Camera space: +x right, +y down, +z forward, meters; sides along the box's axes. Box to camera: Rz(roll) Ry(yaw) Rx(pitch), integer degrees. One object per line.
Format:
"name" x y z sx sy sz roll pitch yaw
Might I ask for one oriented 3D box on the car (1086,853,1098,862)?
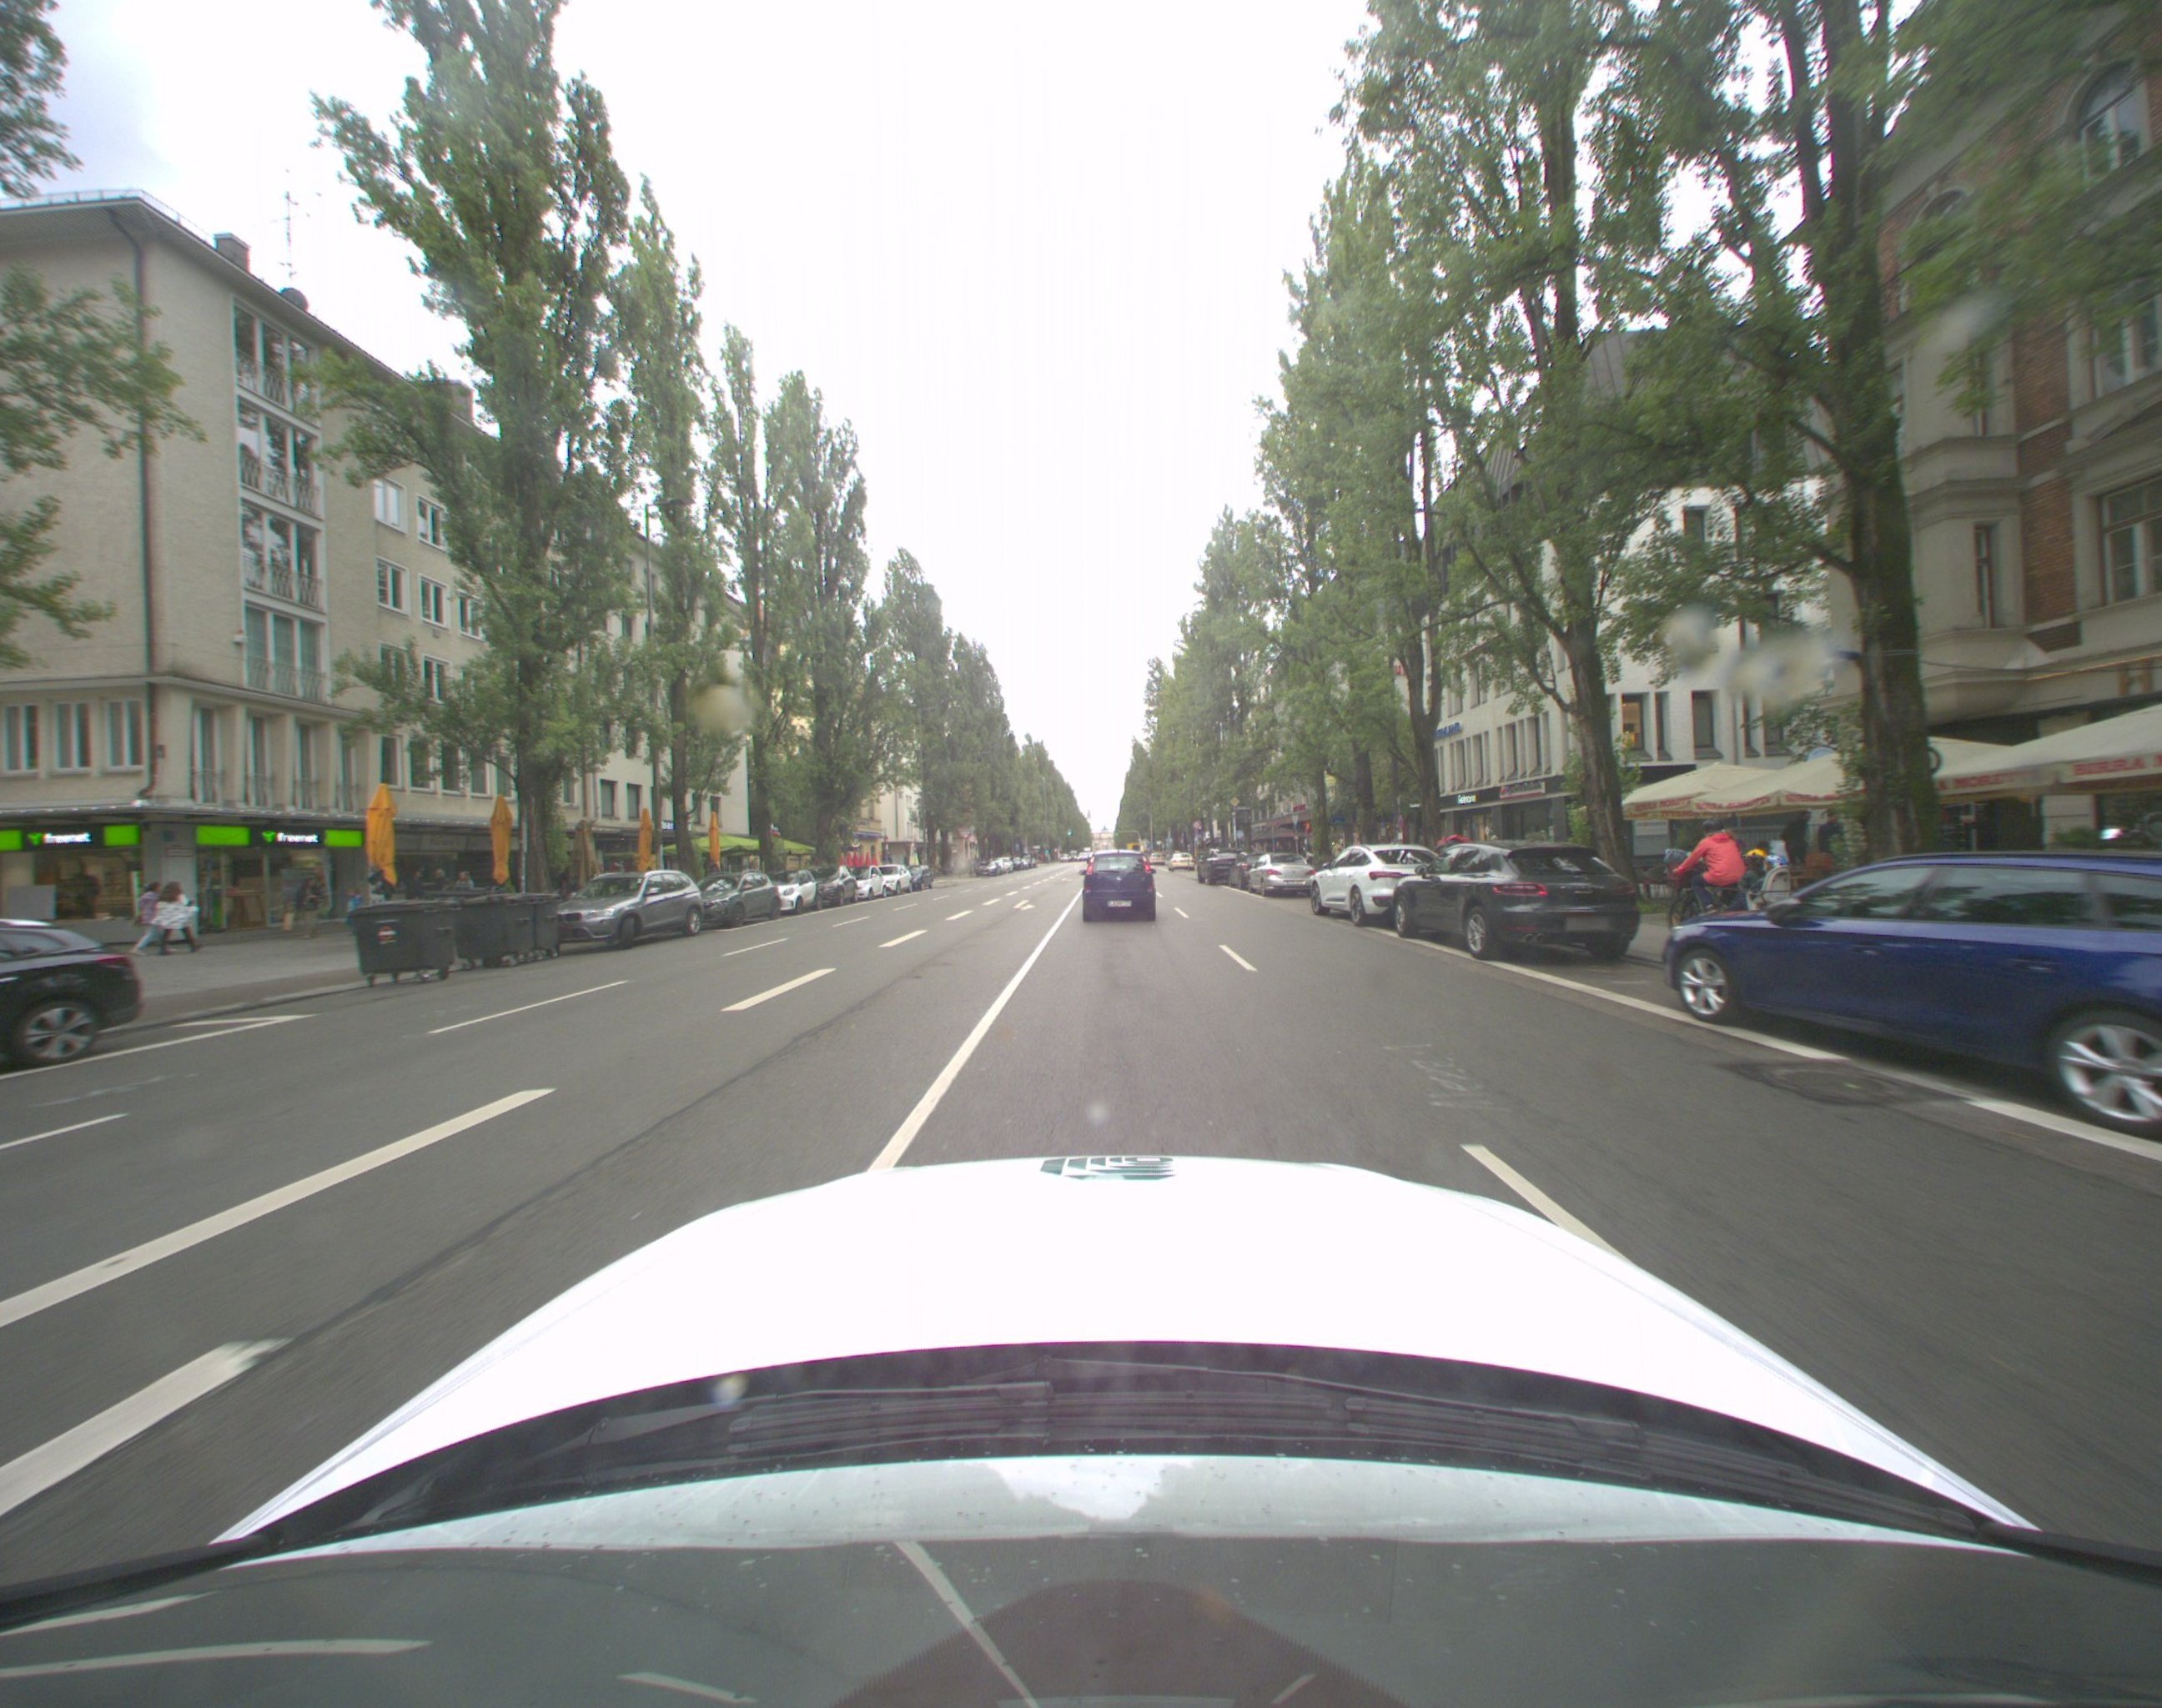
"car" 1.870 0.624 134.034 1.955 1.399 3.779 -2 0 1

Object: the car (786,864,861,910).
"car" -10.092 1.239 32.252 1.836 1.565 4.174 -2 0 -4

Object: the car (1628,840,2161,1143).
"car" 6.015 0.651 5.384 1.744 1.405 4.463 -2 0 -1

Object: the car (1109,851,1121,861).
"car" 5.895 0.333 141.926 1.955 1.677 3.779 -2 0 1

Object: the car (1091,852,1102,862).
"car" 2.756 0.519 146.171 1.828 1.761 3.779 -2 0 1

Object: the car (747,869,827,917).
"car" -10.140 1.311 28.288 1.626 1.428 2.983 -2 0 0

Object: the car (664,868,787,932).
"car" -10.171 1.261 23.662 1.692 1.550 4.082 -2 0 1

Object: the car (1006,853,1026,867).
"car" -7.687 0.746 95.959 1.955 1.530 4.000 -2 0 0

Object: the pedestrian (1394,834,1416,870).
"pedestrian" 16.101 -0.113 40.519 0.725 1.751 0.859 -1 -1 0

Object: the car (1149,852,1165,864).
"car" 9.299 0.428 99.272 1.663 1.352 4.106 -2 0 2

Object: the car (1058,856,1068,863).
"car" -4.253 1.183 193.036 1.955 1.549 3.779 -2 0 1

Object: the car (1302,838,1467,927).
"car" 6.256 0.533 17.439 1.821 1.621 4.748 -1 0 1

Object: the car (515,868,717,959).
"car" -10.500 1.252 18.892 1.858 1.654 4.616 -4 0 1

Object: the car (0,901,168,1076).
"car" -10.722 1.322 6.561 1.657 1.504 4.316 -4 0 3

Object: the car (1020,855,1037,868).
"car" -7.248 0.971 112.851 1.987 1.662 4.001 -2 0 1

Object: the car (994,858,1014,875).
"car" -7.919 1.277 84.147 1.648 1.561 3.458 -2 0 1

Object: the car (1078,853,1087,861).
"car" 0.388 0.620 171.628 1.828 1.677 3.779 -2 0 1

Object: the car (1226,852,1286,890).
"car" 6.891 0.626 32.452 1.676 1.415 3.583 0 0 1

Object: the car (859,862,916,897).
"car" -9.580 1.245 40.614 1.829 1.546 4.085 -2 0 0

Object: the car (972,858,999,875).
"car" -8.541 1.100 73.305 1.823 1.420 3.812 -3 0 1

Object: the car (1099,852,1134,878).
"car" 2.148 0.634 50.480 1.987 1.497 4.000 -2 0 1

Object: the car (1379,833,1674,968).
"car" 6.260 0.564 12.186 1.986 1.565 4.484 -2 0 1

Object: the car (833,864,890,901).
"car" -9.841 1.253 36.689 1.566 1.534 2.925 -2 0 4

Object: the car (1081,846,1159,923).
"car" 0.892 0.669 19.898 1.675 1.641 4.000 -1 0 1

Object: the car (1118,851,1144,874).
"car" 3.719 0.629 61.409 1.700 1.574 4.001 -3 0 1

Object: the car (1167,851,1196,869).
"car" 7.965 0.451 64.694 1.890 1.362 3.901 -2 0 2

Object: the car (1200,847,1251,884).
"car" 6.632 0.510 37.770 1.791 1.594 4.106 0 0 2

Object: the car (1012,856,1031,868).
"car" -7.481 0.935 102.187 1.955 1.399 3.779 -2 0 1

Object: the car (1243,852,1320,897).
"car" 6.731 0.638 27.689 1.664 1.406 4.128 0 0 1

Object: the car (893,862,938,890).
"car" -9.257 1.213 45.845 1.579 1.447 3.394 -2 0 4

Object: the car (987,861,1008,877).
"car" -8.102 1.413 79.227 1.541 1.453 3.458 -2 0 1

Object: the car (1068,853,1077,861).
"car" -1.789 0.713 182.894 1.828 1.739 3.779 -2 0 1

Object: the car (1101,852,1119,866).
"car" 3.332 0.613 94.277 1.987 1.497 4.000 -2 0 1
